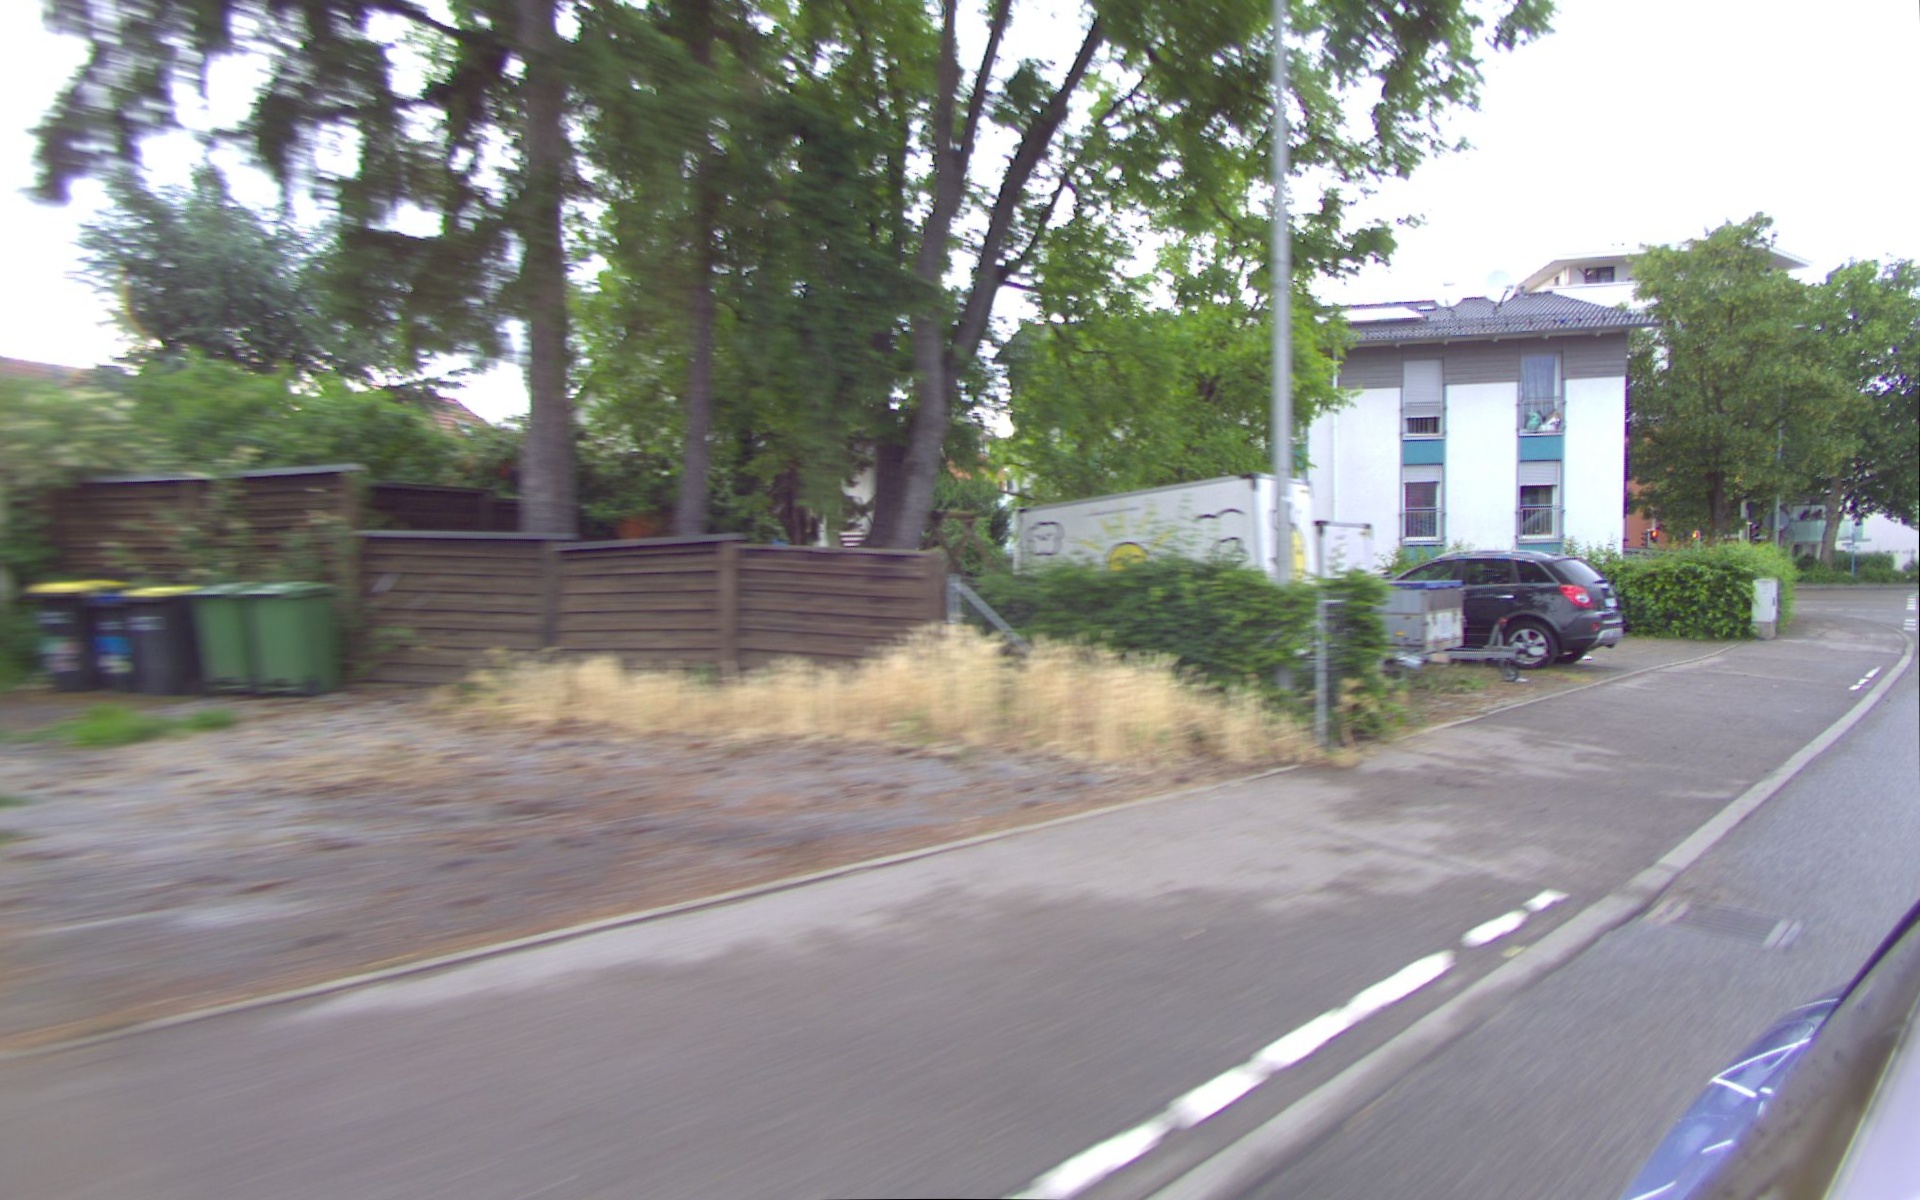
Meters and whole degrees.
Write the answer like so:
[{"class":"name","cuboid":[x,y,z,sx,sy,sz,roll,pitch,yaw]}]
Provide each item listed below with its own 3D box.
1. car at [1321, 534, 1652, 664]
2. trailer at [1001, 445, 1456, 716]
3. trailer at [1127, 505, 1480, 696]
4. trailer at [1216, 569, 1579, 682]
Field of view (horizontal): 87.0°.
[{"class":"car","cuboid":[8.171,-0.081,15.996,1.950,1.771,4.220,0,2,-42]},{"class":"trailer","cuboid":[2.832,-0.224,11.258,4.528,2.430,1.922,1,2,40]},{"class":"trailer","cuboid":[4.228,-0.031,12.886,1.659,2.047,3.956,-1,1,-43]},{"class":"trailer","cuboid":[5.909,0.252,14.109,1.545,1.304,4.402,0,2,-43]}]
